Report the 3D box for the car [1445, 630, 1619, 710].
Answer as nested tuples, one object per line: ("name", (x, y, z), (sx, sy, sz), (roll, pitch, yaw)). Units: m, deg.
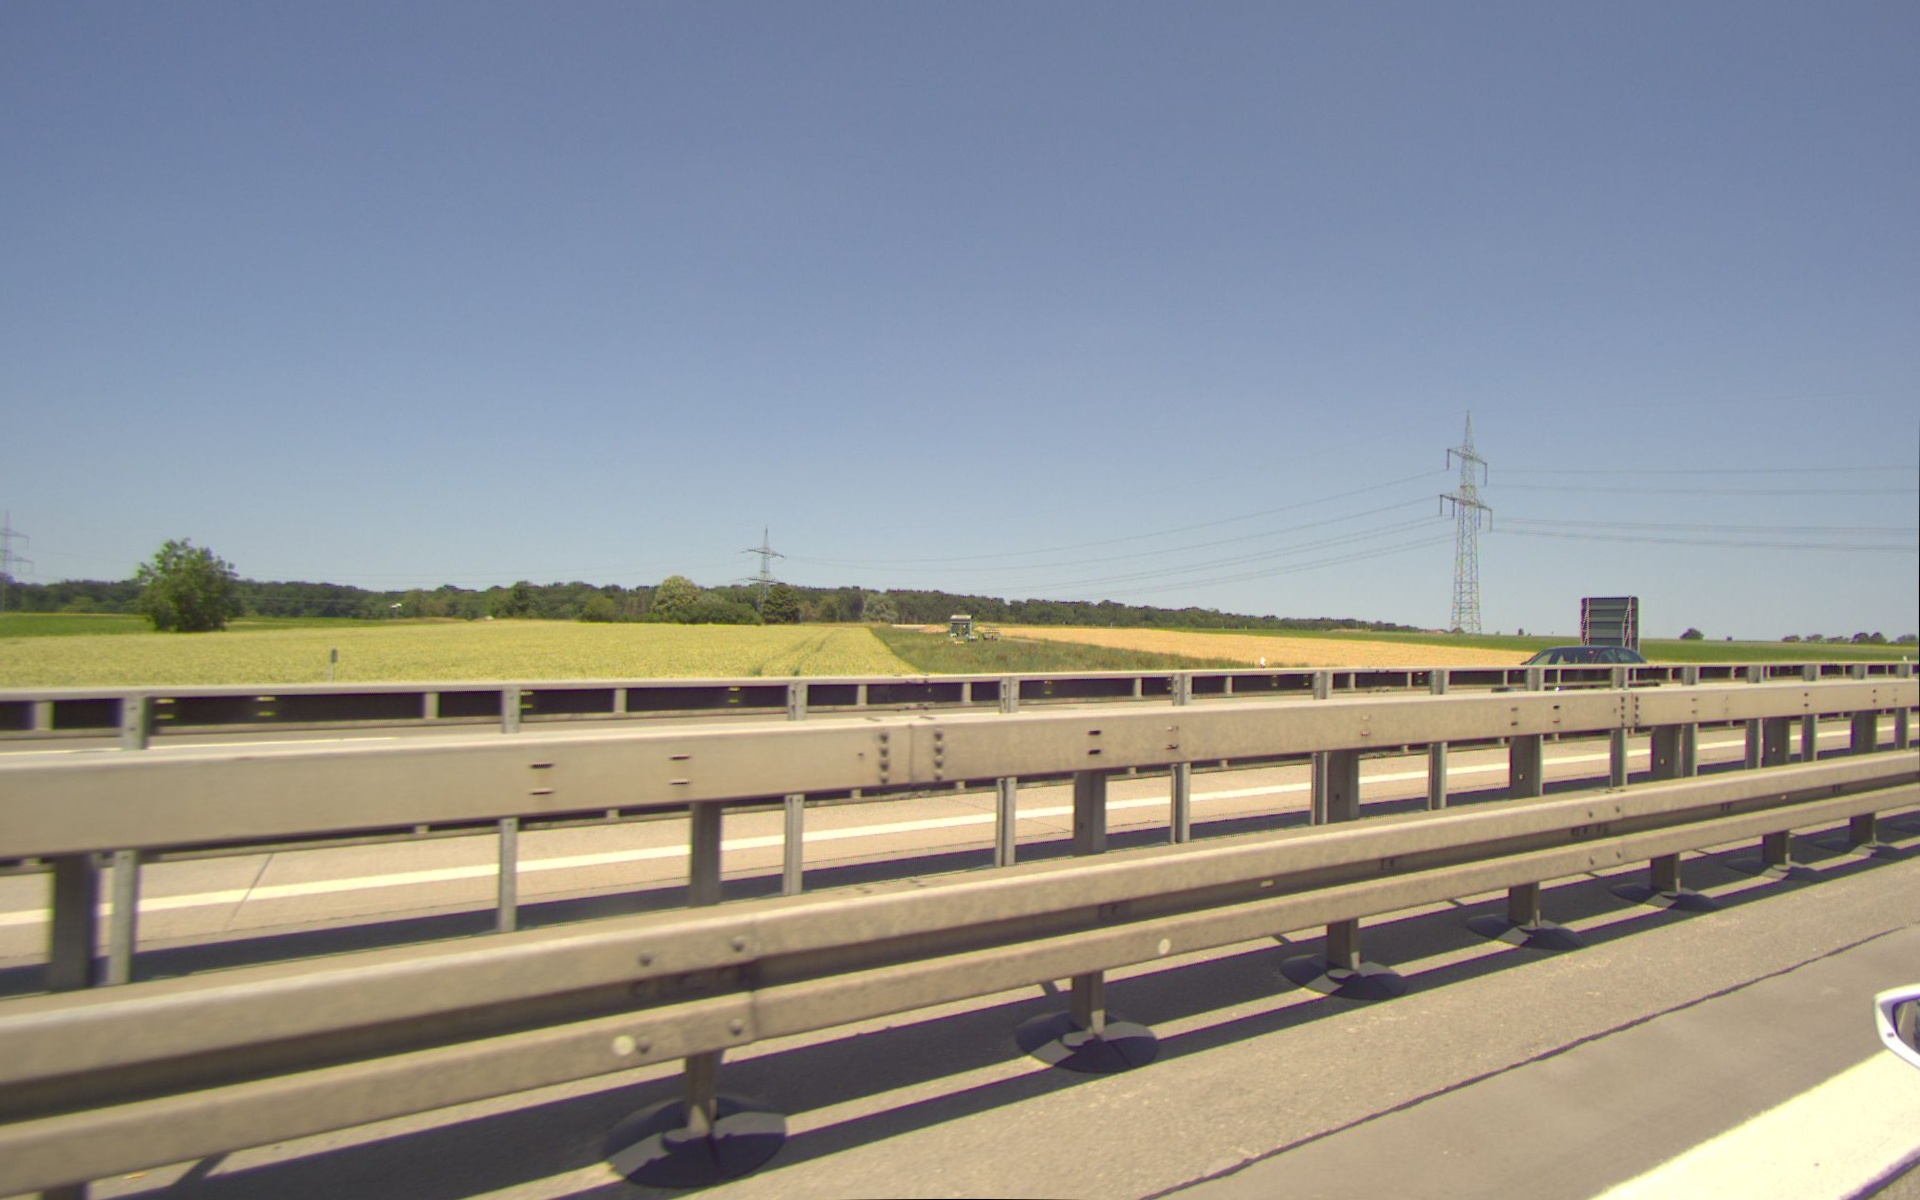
("car", (11.620, 1.388, 20.375), (3.567, 1.444, 1.475), (2, 0, -30))
